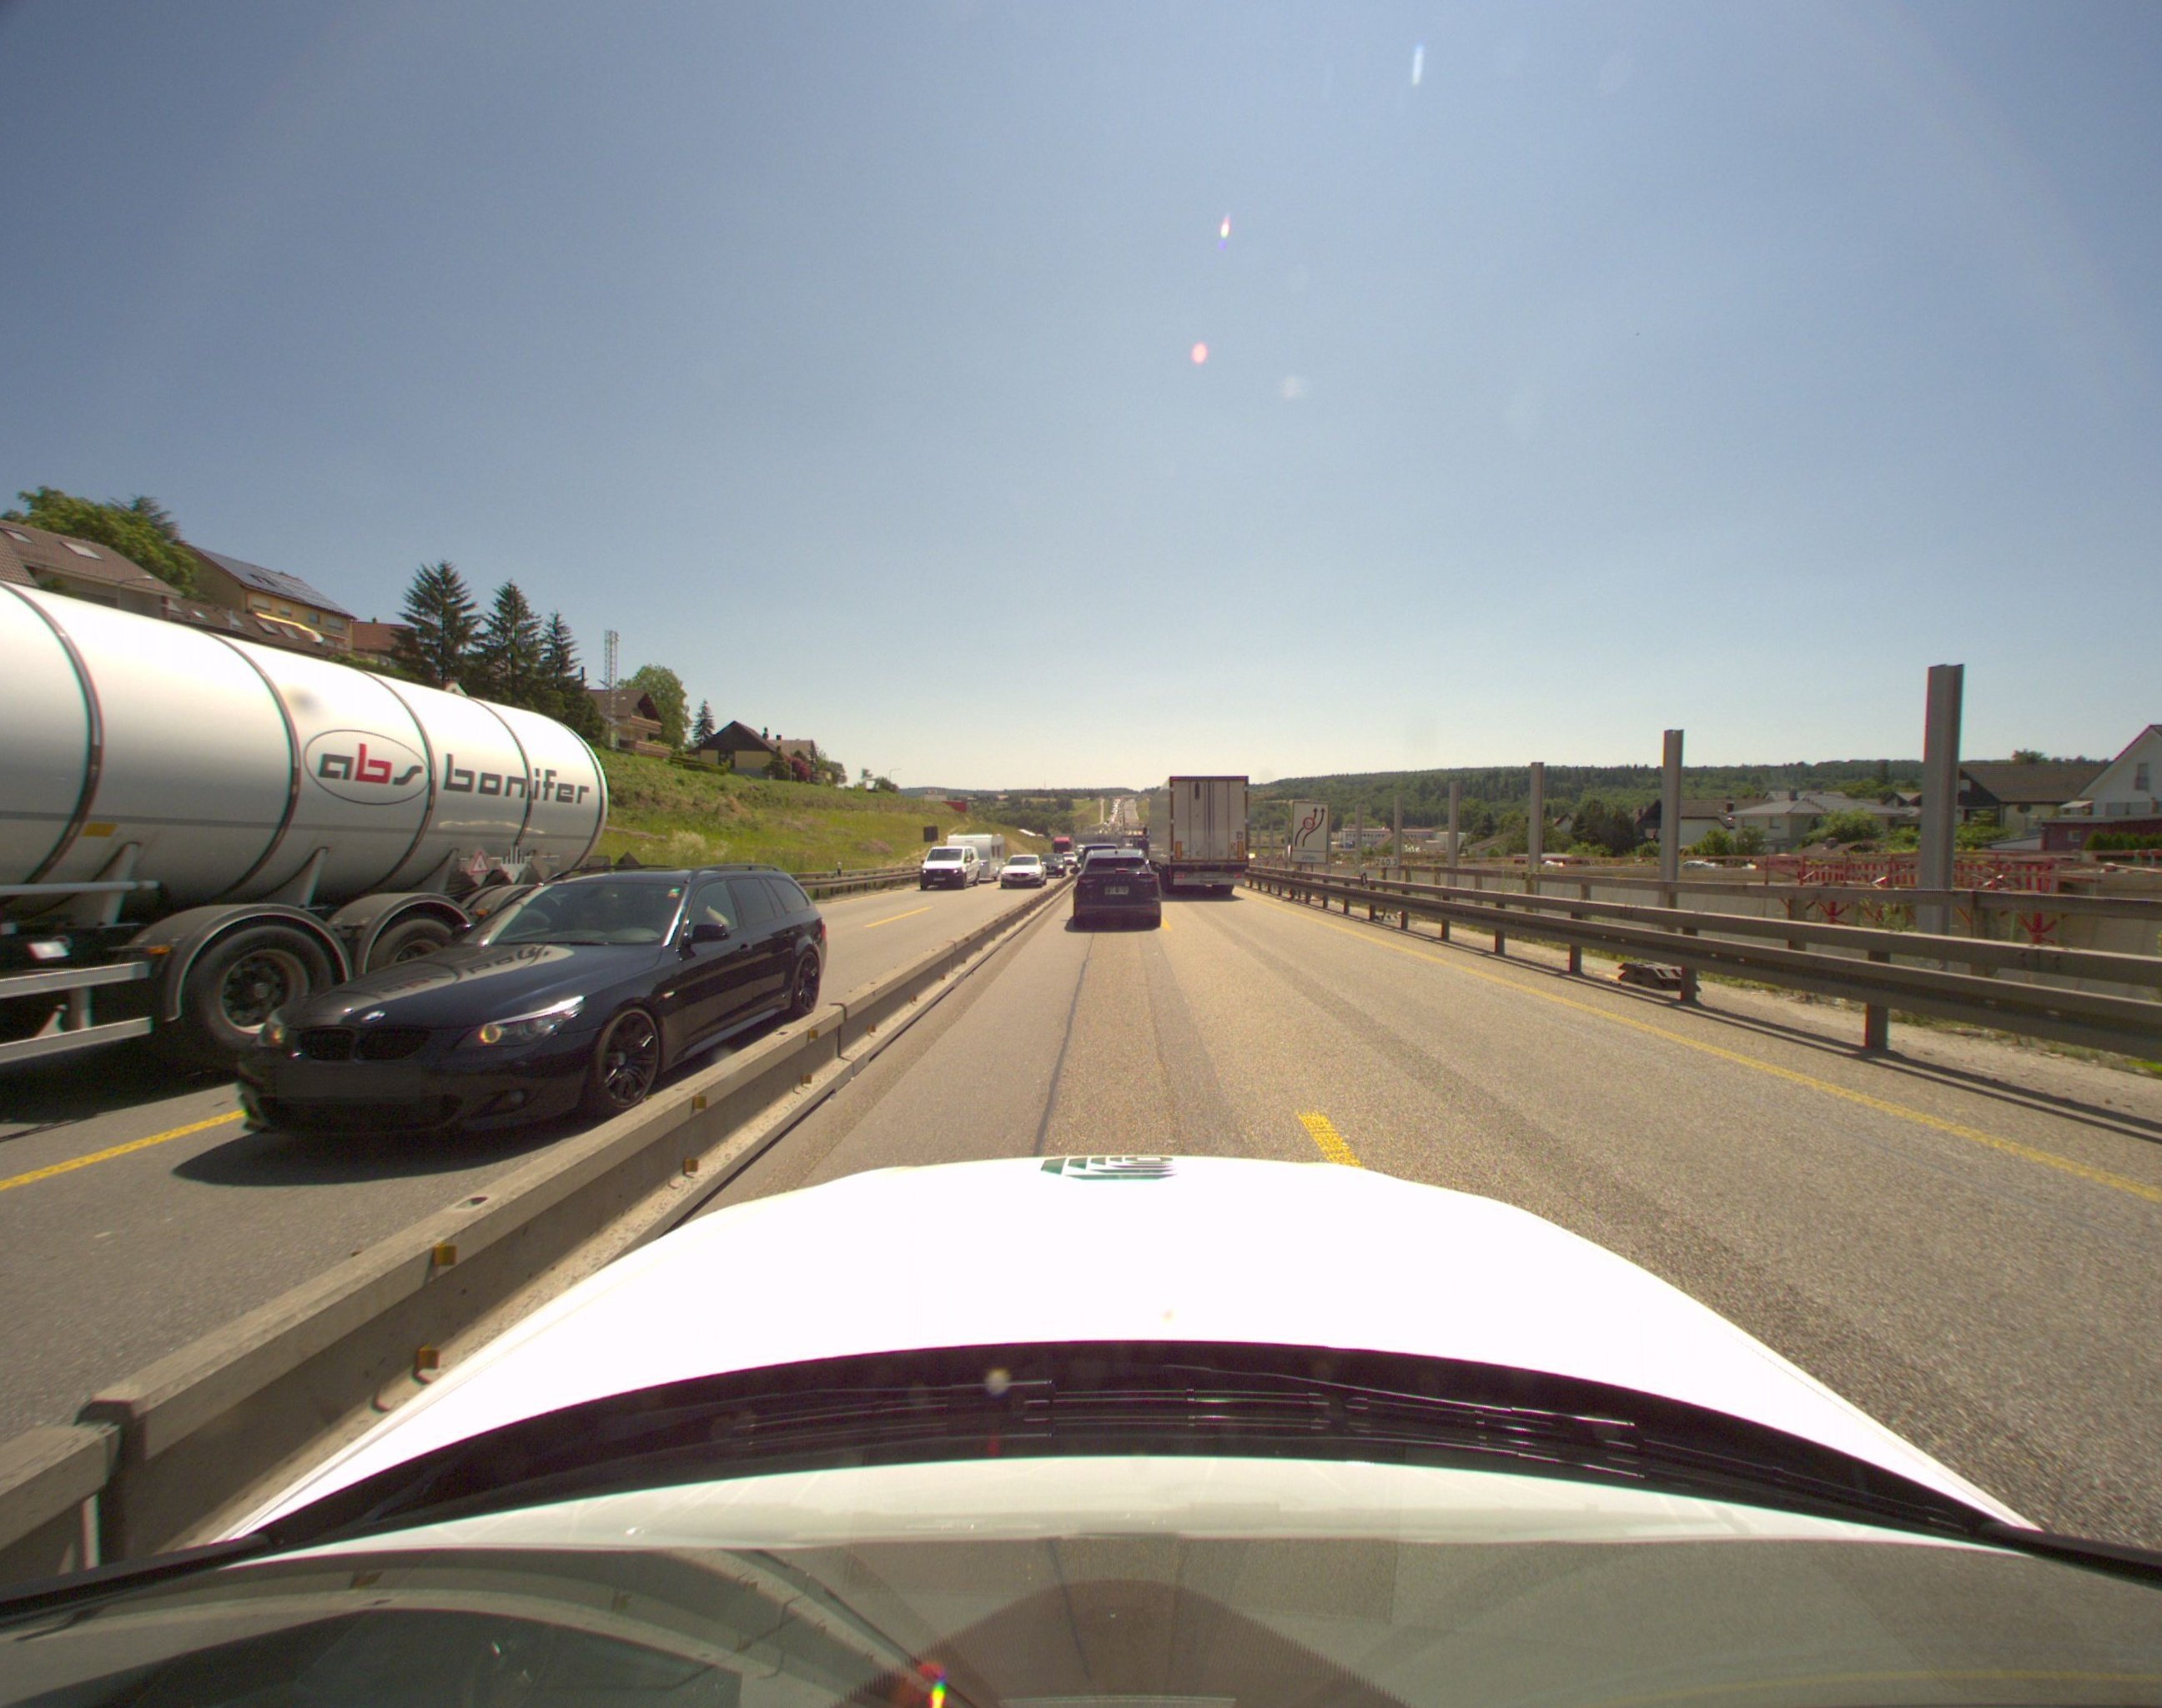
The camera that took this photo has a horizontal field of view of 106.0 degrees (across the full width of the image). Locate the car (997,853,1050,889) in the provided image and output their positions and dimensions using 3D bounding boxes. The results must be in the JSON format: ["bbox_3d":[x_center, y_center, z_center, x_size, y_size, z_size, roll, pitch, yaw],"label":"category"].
[{"bbox_3d":[-2.503,0.695,36.413,1.905,1.480,4.638,-1,0,2],"label":"car"}]

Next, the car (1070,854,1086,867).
[{"bbox_3d":[-0.372,0.823,104.566,1.986,1.530,4.001,-1,0,1],"label":"car"}]

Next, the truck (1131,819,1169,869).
[{"bbox_3d":[6.526,-0.815,77.951,3.168,4.513,8.168,0,-1,2],"label":"truck"}]

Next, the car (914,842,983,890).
[{"bbox_3d":[-5.799,0.478,36.305,1.986,1.971,5.346,-1,0,2],"label":"car"}]

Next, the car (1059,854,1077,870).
[{"bbox_3d":[-1.290,0.813,83.366,1.786,1.518,3.998,-1,0,0],"label":"car"}]

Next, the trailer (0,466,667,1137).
[{"bbox_3d":[-7.120,-0.276,5.101,2.706,3.594,11.799,0,0,2],"label":"trailer"}]

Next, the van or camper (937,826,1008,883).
[{"bbox_3d":[-5.560,0.009,42.905,2.348,2.676,7.862,-1,0,2],"label":"van or camper"}]

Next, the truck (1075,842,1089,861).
[{"bbox_3d":[0.302,-0.503,199.058,2.841,4.338,11.920,0,-1,2],"label":"truck"}]

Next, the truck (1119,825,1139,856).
[{"bbox_3d":[7.551,-1.981,128.718,2.841,4.465,11.920,0,-1,2],"label":"truck"}]

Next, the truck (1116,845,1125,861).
[{"bbox_3d":[11.210,-0.272,232.518,2.629,4.194,9.288,0,-1,2],"label":"truck"}]

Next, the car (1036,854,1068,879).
[{"bbox_3d":[-1.706,0.727,49.031,1.660,1.413,3.818,0,0,1],"label":"car"}]

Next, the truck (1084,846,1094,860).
[{"bbox_3d":[2.573,-0.210,258.603,2.841,4.338,11.920,0,-1,2],"label":"truck"}]

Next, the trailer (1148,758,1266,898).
[{"bbox_3d":[4.608,-0.875,32.876,3.168,4.513,13.115,0,0,2],"label":"trailer"}]

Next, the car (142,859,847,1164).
[{"bbox_3d":[-3.541,0.786,6.305,1.887,1.414,4.682,-1,0,3],"label":"car"}]

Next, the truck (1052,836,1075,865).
[{"bbox_3d":[-2.589,-0.455,124.601,2.841,4.140,11.920,0,-1,2],"label":"truck"}]

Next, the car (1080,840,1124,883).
[{"bbox_3d":[1.014,0.390,39.025,1.986,1.926,4.509,0,-1,2],"label":"car"}]

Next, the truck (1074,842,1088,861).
[{"bbox_3d":[0.055,-0.481,176.026,2.841,3.782,11.920,0,-1,2],"label":"truck"}]

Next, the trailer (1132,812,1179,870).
[{"bbox_3d":[6.275,-0.859,70.968,3.168,4.513,14.972,0,-1,2],"label":"trailer"}]

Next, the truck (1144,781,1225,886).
[{"bbox_3d":[4.804,-0.908,39.393,3.168,4.513,8.170,0,0,2],"label":"truck"}]

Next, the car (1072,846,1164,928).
[{"bbox_3d":[0.827,0.665,18.004,1.795,1.607,4.003,-1,-1,3],"label":"car"}]

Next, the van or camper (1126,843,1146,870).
[{"bbox_3d":[6.855,0.345,101.576,2.378,3.281,6.475,-1,-1,4],"label":"van or camper"}]
